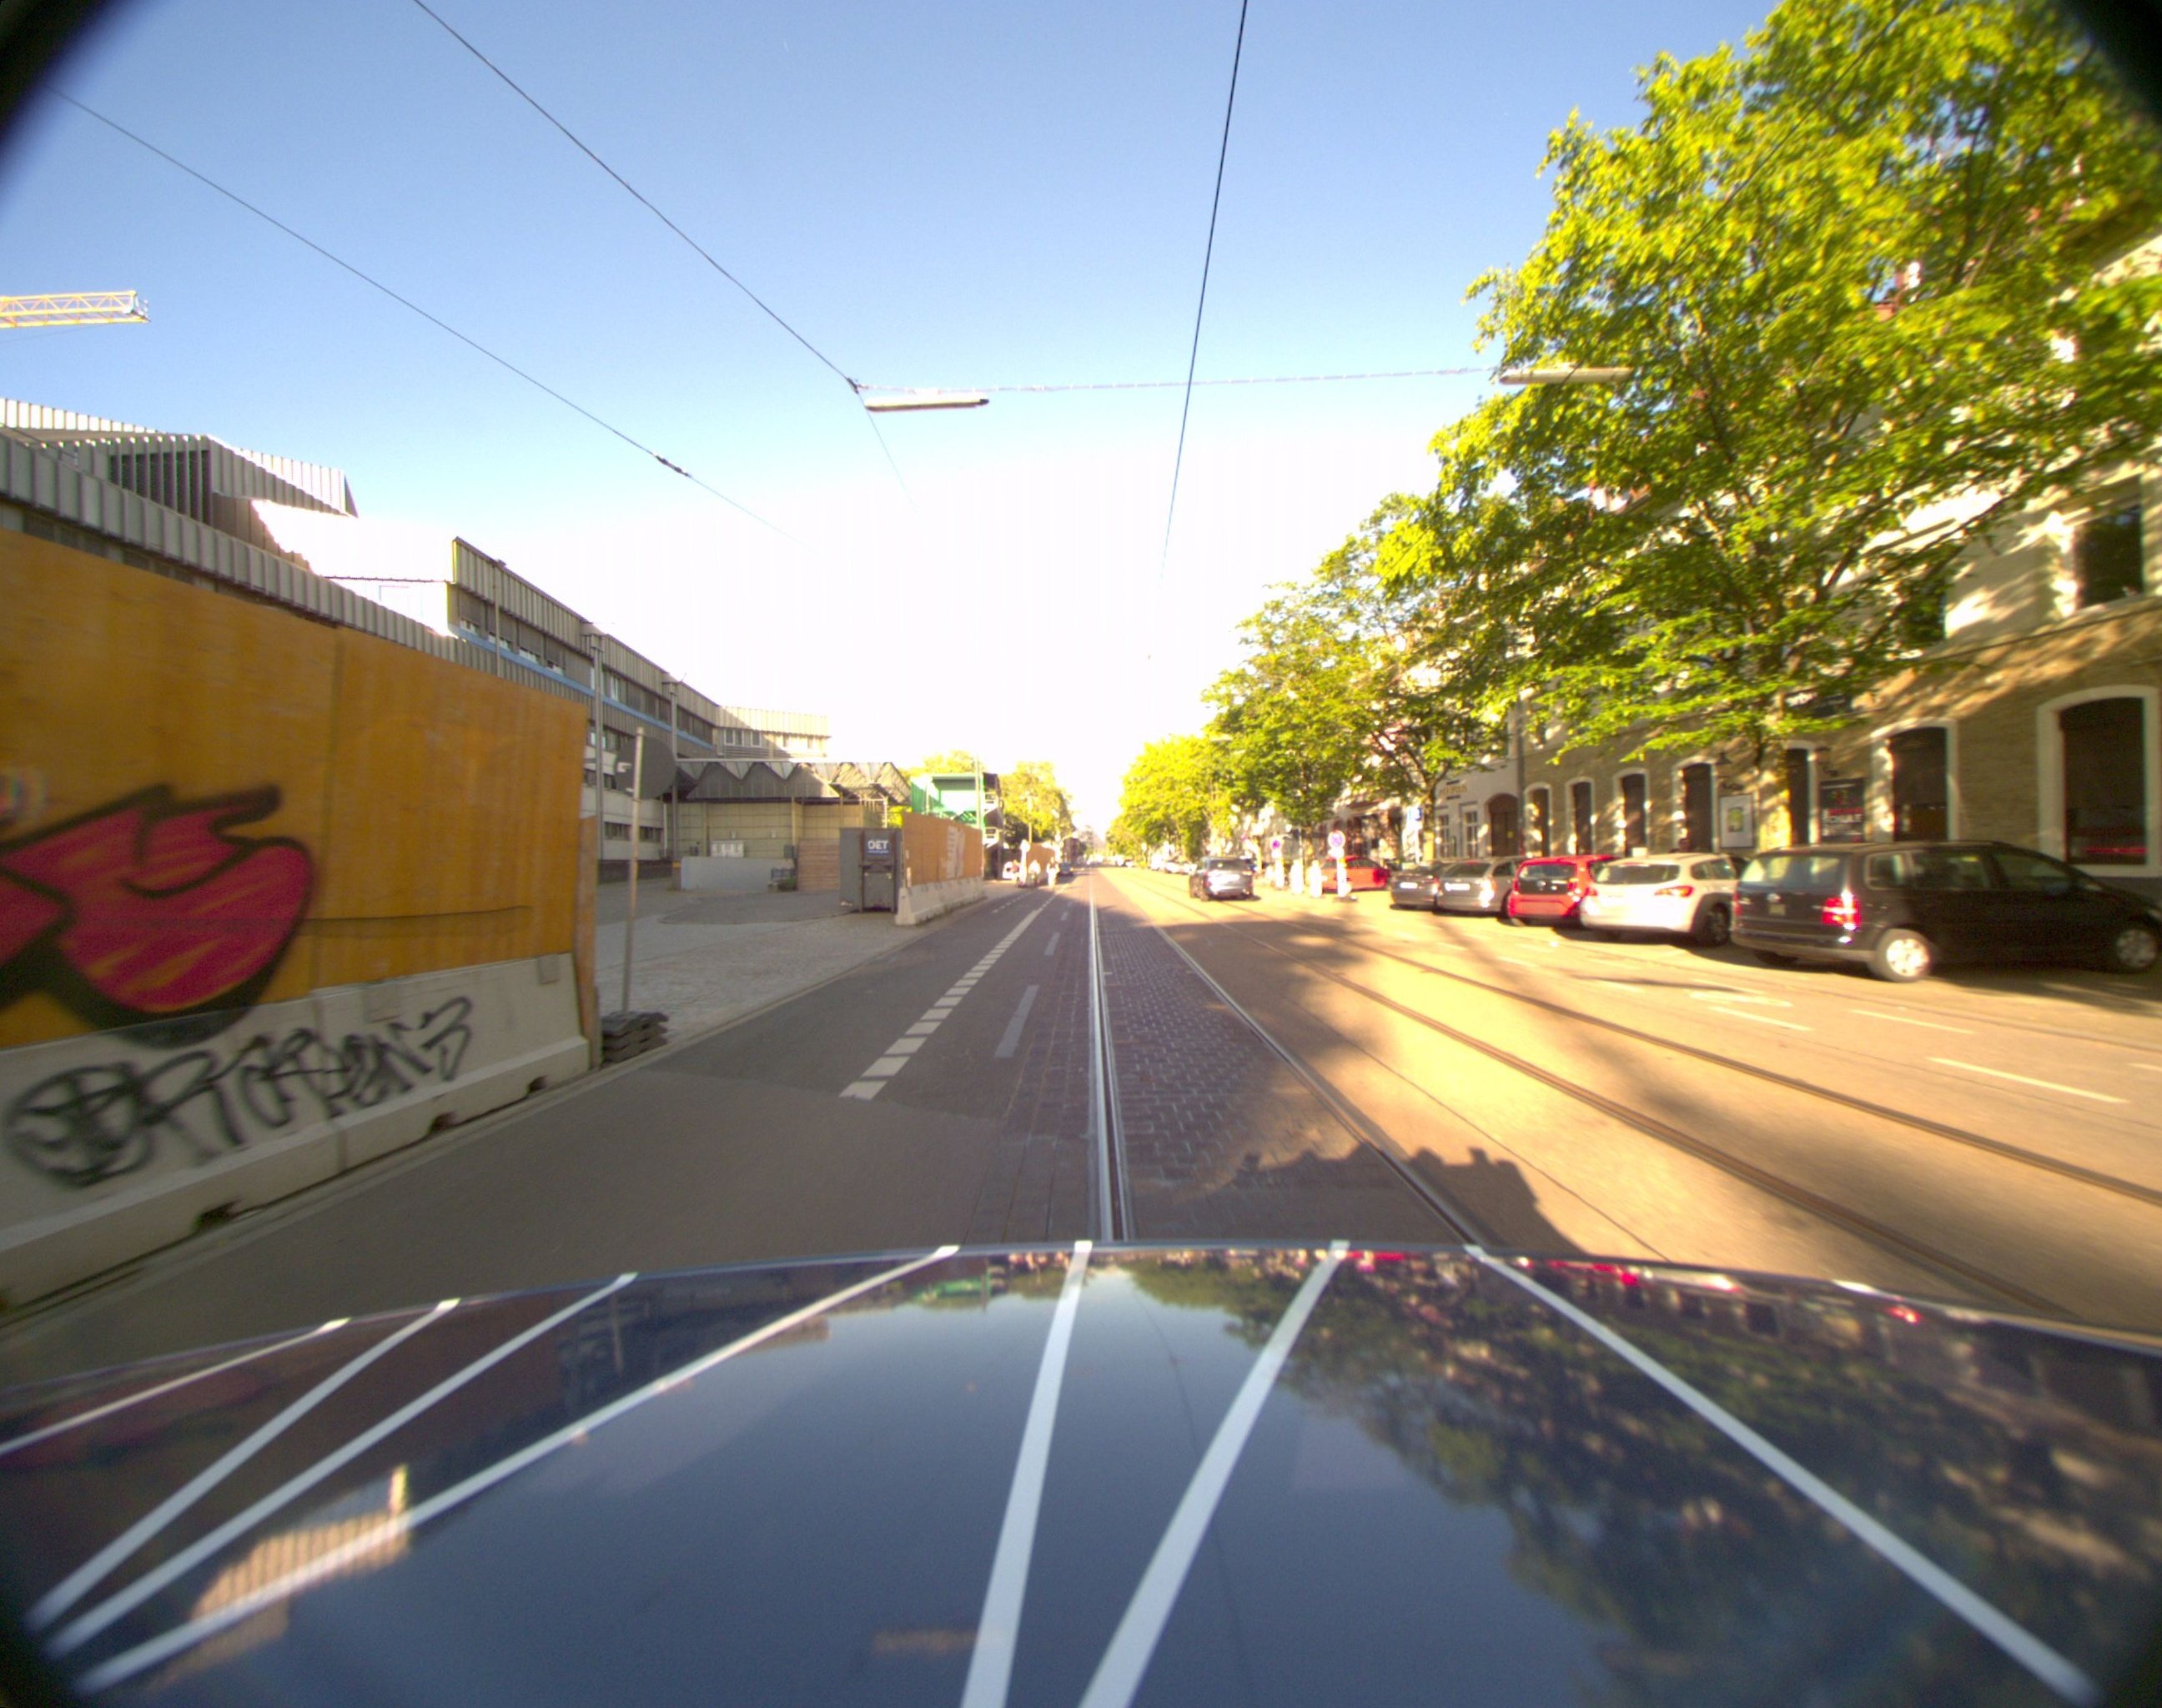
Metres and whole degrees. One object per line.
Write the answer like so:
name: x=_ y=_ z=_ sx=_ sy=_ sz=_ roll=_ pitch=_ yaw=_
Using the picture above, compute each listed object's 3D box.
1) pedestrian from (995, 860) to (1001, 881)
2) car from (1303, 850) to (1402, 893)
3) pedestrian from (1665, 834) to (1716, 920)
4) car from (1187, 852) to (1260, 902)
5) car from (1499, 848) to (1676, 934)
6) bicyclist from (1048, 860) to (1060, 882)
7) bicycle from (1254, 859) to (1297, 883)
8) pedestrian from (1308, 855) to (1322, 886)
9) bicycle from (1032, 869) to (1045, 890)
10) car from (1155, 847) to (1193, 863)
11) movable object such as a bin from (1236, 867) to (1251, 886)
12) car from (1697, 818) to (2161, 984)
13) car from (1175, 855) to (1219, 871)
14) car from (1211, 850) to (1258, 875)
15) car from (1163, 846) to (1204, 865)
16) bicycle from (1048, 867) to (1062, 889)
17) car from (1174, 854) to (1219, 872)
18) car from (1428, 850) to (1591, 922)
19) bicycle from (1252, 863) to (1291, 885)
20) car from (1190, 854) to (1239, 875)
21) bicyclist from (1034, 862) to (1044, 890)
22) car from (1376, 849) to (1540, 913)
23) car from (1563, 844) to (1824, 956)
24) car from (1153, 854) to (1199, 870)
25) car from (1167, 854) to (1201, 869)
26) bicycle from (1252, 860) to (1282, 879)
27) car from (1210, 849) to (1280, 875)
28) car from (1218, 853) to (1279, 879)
pedestrian: x=-7.050 y=1.378 z=64.589 sx=0.449 sy=1.748 sz=0.377 roll=-2 pitch=0 yaw=-19
car: x=11.113 y=0.710 z=31.121 sx=3.629 sy=1.544 sz=1.666 roll=-3 pitch=-1 yaw=-25
pedestrian: x=14.360 y=0.537 z=17.916 sx=0.733 sy=2.002 sz=0.556 roll=-1 pitch=0 yaw=2
car: x=5.189 y=0.780 z=28.194 sx=1.932 sy=1.620 sz=4.248 roll=-1 pitch=1 yaw=1
car: x=10.719 y=0.732 z=16.064 sx=3.378 sy=1.484 sz=1.610 roll=-3 pitch=0 yaw=-27
bicyclist: x=-1.521 y=0.980 z=42.920 sx=0.653 sy=1.230 sz=0.353 roll=0 pitch=0 yaw=-1
bicycle: x=10.301 y=0.906 z=40.280 sx=2.007 sy=1.081 sz=0.567 roll=-6 pitch=0 yaw=3
pedestrian: x=14.355 y=1.005 z=46.617 sx=0.645 sy=1.827 sz=0.624 roll=-1 pitch=0 yaw=2
bicycle: x=-2.400 y=1.415 z=43.335 sx=0.558 sy=1.120 sz=2.276 roll=-2 pitch=0 yaw=1
car: x=12.702 y=0.146 z=104.104 sx=4.938 sy=2.002 sz=2.074 roll=-1 pitch=0 yaw=-3
movable object such as a bin: x=9.384 y=1.295 z=43.825 sx=0.685 sy=1.071 sz=0.710 roll=-4 pitch=0 yaw=2
car: x=10.719 y=0.541 z=9.732 sx=4.115 sy=1.668 sz=1.841 roll=-4 pitch=0 yaw=-1
car: x=12.092 y=0.927 z=79.293 sx=4.174 sy=1.543 sz=1.700 roll=0 pitch=0 yaw=-15
car: x=11.758 y=0.640 z=58.118 sx=3.453 sy=1.832 sz=1.728 roll=-1 pitch=0 yaw=-41
car: x=11.944 y=0.194 z=88.572 sx=4.448 sy=2.105 sz=2.163 roll=-2 pitch=0 yaw=-1
bicycle: x=-1.470 y=1.348 z=42.929 sx=0.669 sy=1.148 sz=2.276 roll=-2 pitch=0 yaw=0
car: x=11.572 y=0.896 z=76.179 sx=4.003 sy=1.666 sz=1.700 roll=-2 pitch=0 yaw=-19
car: x=10.633 y=0.745 z=18.847 sx=3.689 sy=1.462 sz=1.749 roll=-3 pitch=1 yaw=-28
bicycle: x=10.422 y=1.086 z=41.607 sx=1.972 sy=1.073 sz=0.568 roll=-4 pitch=0 yaw=3
car: x=11.354 y=0.858 z=64.670 sx=3.650 sy=1.521 sz=1.883 roll=-4 pitch=1 yaw=-19
bicyclist: x=-2.415 y=1.254 z=43.735 sx=0.557 sy=1.603 sz=0.576 roll=0 pitch=0 yaw=-1
car: x=10.706 y=0.721 z=21.548 sx=4.208 sy=1.482 sz=1.940 roll=-3 pitch=0 yaw=-26
car: x=10.535 y=0.707 z=13.060 sx=4.122 sy=1.503 sz=1.837 roll=-3 pitch=0 yaw=-25
car: x=10.539 y=0.870 z=84.638 sx=4.841 sy=1.714 sz=2.163 roll=-1 pitch=0 yaw=-1
car: x=11.135 y=0.811 z=82.160 sx=3.376 sy=1.544 sz=1.383 roll=-1 pitch=0 yaw=-12
bicycle: x=10.616 y=0.890 z=43.347 sx=1.605 sy=0.982 sz=0.388 roll=-3 pitch=0 yaw=-10
car: x=11.886 y=0.556 z=54.816 sx=4.950 sy=1.784 sz=2.203 roll=-1 pitch=0 yaw=-37
car: x=11.087 y=0.797 z=50.189 sx=3.909 sy=1.599 sz=1.569 roll=-1 pitch=0 yaw=-32
